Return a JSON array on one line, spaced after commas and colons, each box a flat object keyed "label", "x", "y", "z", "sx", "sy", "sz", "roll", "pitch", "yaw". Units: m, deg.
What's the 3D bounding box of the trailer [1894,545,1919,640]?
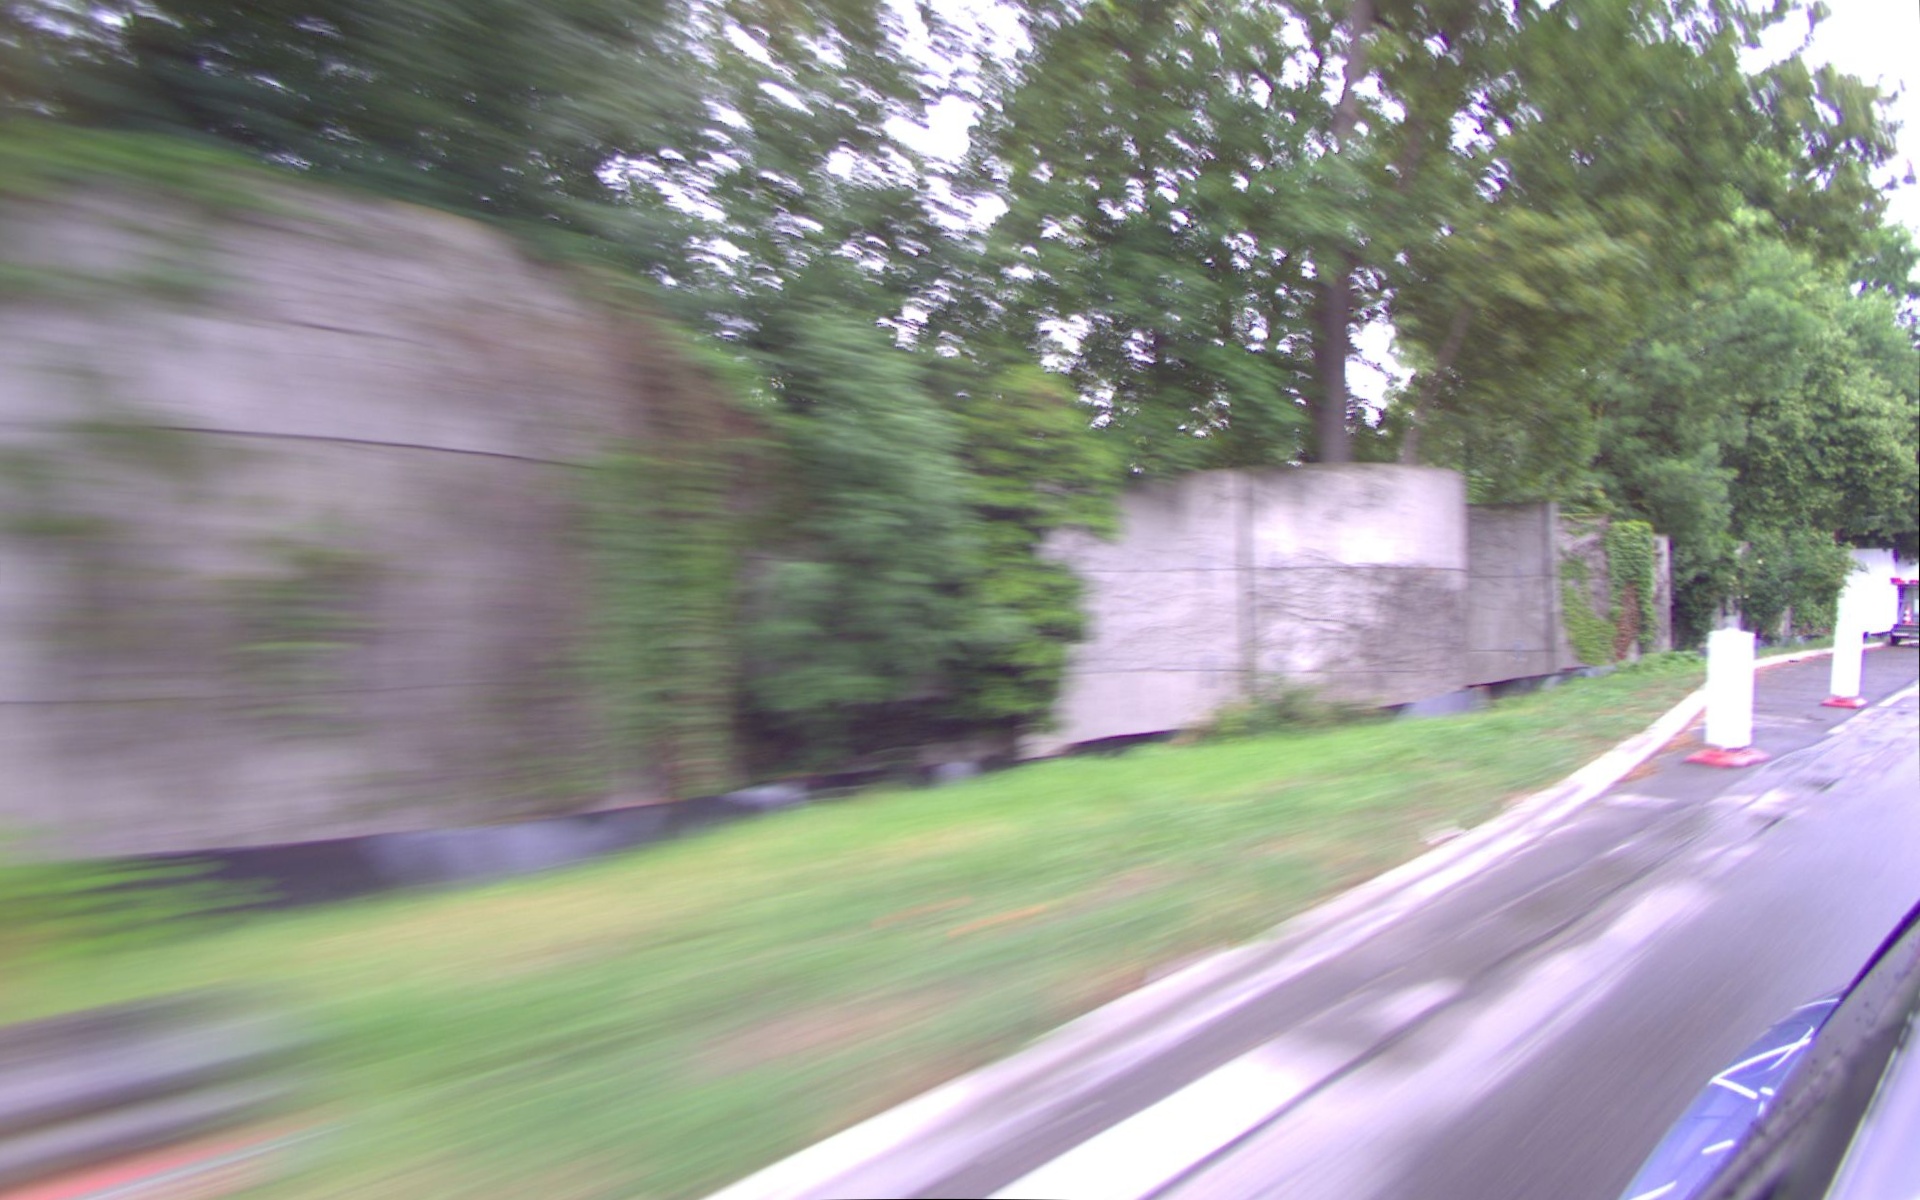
[{"label": "trailer", "x": 39.518, "y": -0.300, "z": 40.147, "sx": 5.845, "sy": 3.634, "sz": 2.316, "roll": 0, "pitch": 1, "yaw": -34}]
